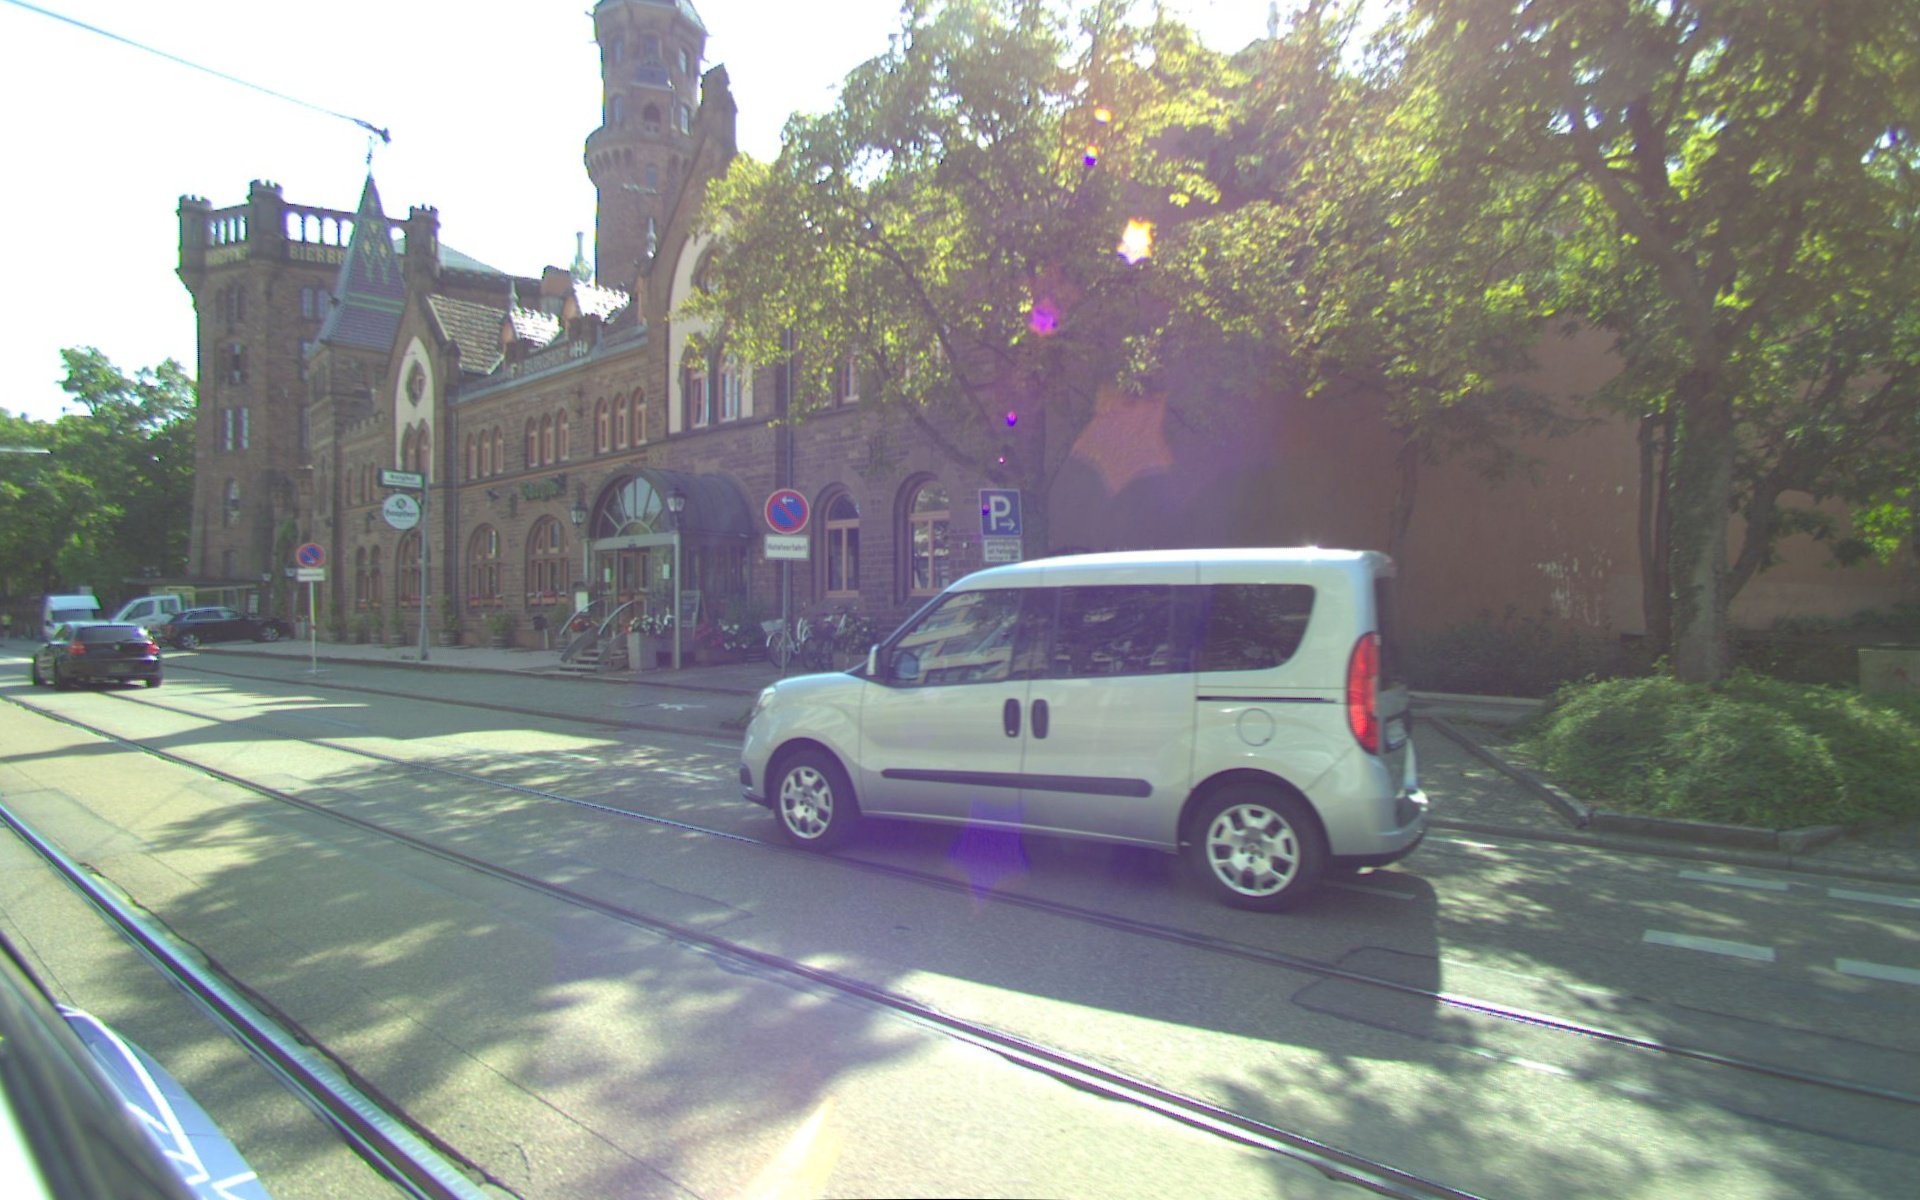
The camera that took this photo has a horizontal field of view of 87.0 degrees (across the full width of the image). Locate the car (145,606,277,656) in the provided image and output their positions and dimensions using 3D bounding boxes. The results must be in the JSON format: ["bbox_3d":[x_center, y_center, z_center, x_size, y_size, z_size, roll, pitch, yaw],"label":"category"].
[{"bbox_3d":[-31.585,1.281,42.748,1.999,1.756,4.094,-2,2,41],"label":"car"}]

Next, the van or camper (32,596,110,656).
[{"bbox_3d":[-42.415,1.238,48.227,5.953,2.695,2.090,-2,-1,42],"label":"van or camper"}]

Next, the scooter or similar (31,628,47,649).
[{"bbox_3d":[-53.885,2.251,59.192,0.334,1.187,1.182,-1,-1,-25],"label":"scooter or similar"}]

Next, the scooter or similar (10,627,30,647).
[{"bbox_3d":[-57.364,2.248,61.736,1.309,1.187,0.418,-1,-1,25],"label":"scooter or similar"}]

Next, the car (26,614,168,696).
[{"bbox_3d":[-18.470,1.121,21.599,4.203,1.583,1.664,-2,-3,41],"label":"car"}]

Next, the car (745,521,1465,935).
[{"bbox_3d":[0.815,0.592,6.158,3.982,1.810,1.736,-1,-1,29],"label":"car"}]

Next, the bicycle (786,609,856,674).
[{"bbox_3d":[-2.662,0.781,19.538,0.399,1.101,1.438,-1,2,36],"label":"bicycle"}]

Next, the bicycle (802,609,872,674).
[{"bbox_3d":[-2.318,0.772,19.246,0.399,1.101,1.438,-1,2,36],"label":"bicycle"}]

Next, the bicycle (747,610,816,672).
[{"bbox_3d":[-3.551,0.803,20.226,0.399,1.101,1.438,-1,2,36],"label":"bicycle"}]

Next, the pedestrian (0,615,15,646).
[{"bbox_3d":[-62.839,2.017,66.602,0.982,2.029,0.856,-2,-1,38],"label":"pedestrian"}]

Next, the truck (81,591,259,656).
[{"bbox_3d":[-36.841,1.036,47.342,2.132,2.557,6.250,-4,1,45],"label":"truck"}]
